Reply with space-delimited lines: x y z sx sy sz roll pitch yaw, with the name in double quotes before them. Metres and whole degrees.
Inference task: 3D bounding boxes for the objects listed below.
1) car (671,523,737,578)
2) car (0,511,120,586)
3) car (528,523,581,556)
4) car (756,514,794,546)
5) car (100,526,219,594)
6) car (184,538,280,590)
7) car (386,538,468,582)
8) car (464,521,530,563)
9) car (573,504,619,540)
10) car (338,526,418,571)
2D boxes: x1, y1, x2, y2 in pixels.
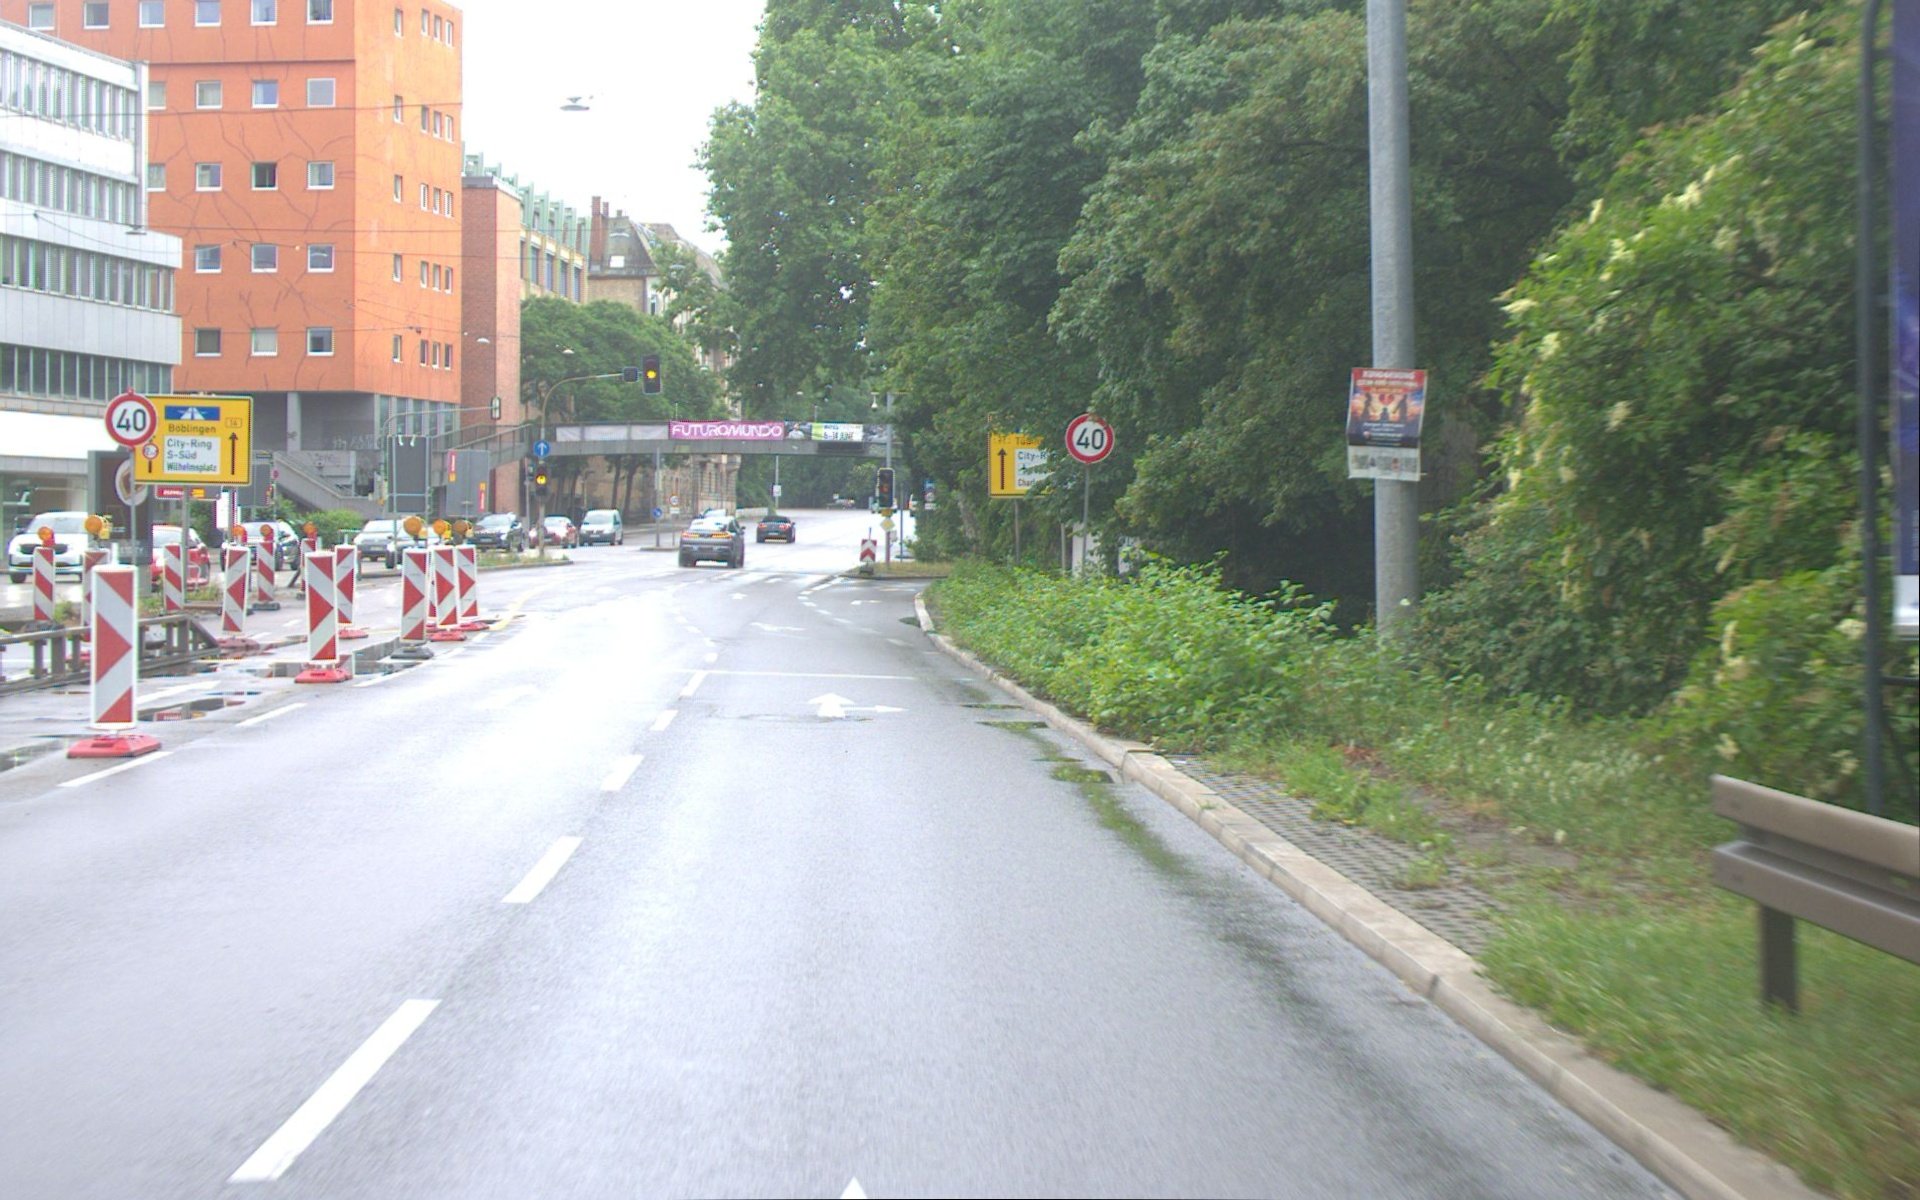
"car" -9.035 -1.770 121.717 2.120 1.729 4.199 2 2 -2
"car" -21.187 -1.214 80.706 1.979 1.701 4.832 0 1 -3
"car" -18.693 -2.796 158.548 1.829 1.497 4.373 -1 1 1
"car" -9.755 -3.697 181.602 1.763 1.691 3.706 -1 1 0
"car" -17.300 -0.887 74.468 1.735 1.399 4.290 1 1 -3
"car" -21.619 -1.063 102.210 1.752 1.508 3.999 -1 0 4
"car" -17.067 -1.284 110.258 1.689 1.349 4.114 -1 1 4
"car" -19.503 -2.438 144.849 1.845 1.731 4.604 0 1 4
"car" -18.273 -3.917 172.691 1.734 1.780 4.301 -1 1 1
"car" -20.641 -1.826 122.031 1.808 1.553 4.300 0 1 5
